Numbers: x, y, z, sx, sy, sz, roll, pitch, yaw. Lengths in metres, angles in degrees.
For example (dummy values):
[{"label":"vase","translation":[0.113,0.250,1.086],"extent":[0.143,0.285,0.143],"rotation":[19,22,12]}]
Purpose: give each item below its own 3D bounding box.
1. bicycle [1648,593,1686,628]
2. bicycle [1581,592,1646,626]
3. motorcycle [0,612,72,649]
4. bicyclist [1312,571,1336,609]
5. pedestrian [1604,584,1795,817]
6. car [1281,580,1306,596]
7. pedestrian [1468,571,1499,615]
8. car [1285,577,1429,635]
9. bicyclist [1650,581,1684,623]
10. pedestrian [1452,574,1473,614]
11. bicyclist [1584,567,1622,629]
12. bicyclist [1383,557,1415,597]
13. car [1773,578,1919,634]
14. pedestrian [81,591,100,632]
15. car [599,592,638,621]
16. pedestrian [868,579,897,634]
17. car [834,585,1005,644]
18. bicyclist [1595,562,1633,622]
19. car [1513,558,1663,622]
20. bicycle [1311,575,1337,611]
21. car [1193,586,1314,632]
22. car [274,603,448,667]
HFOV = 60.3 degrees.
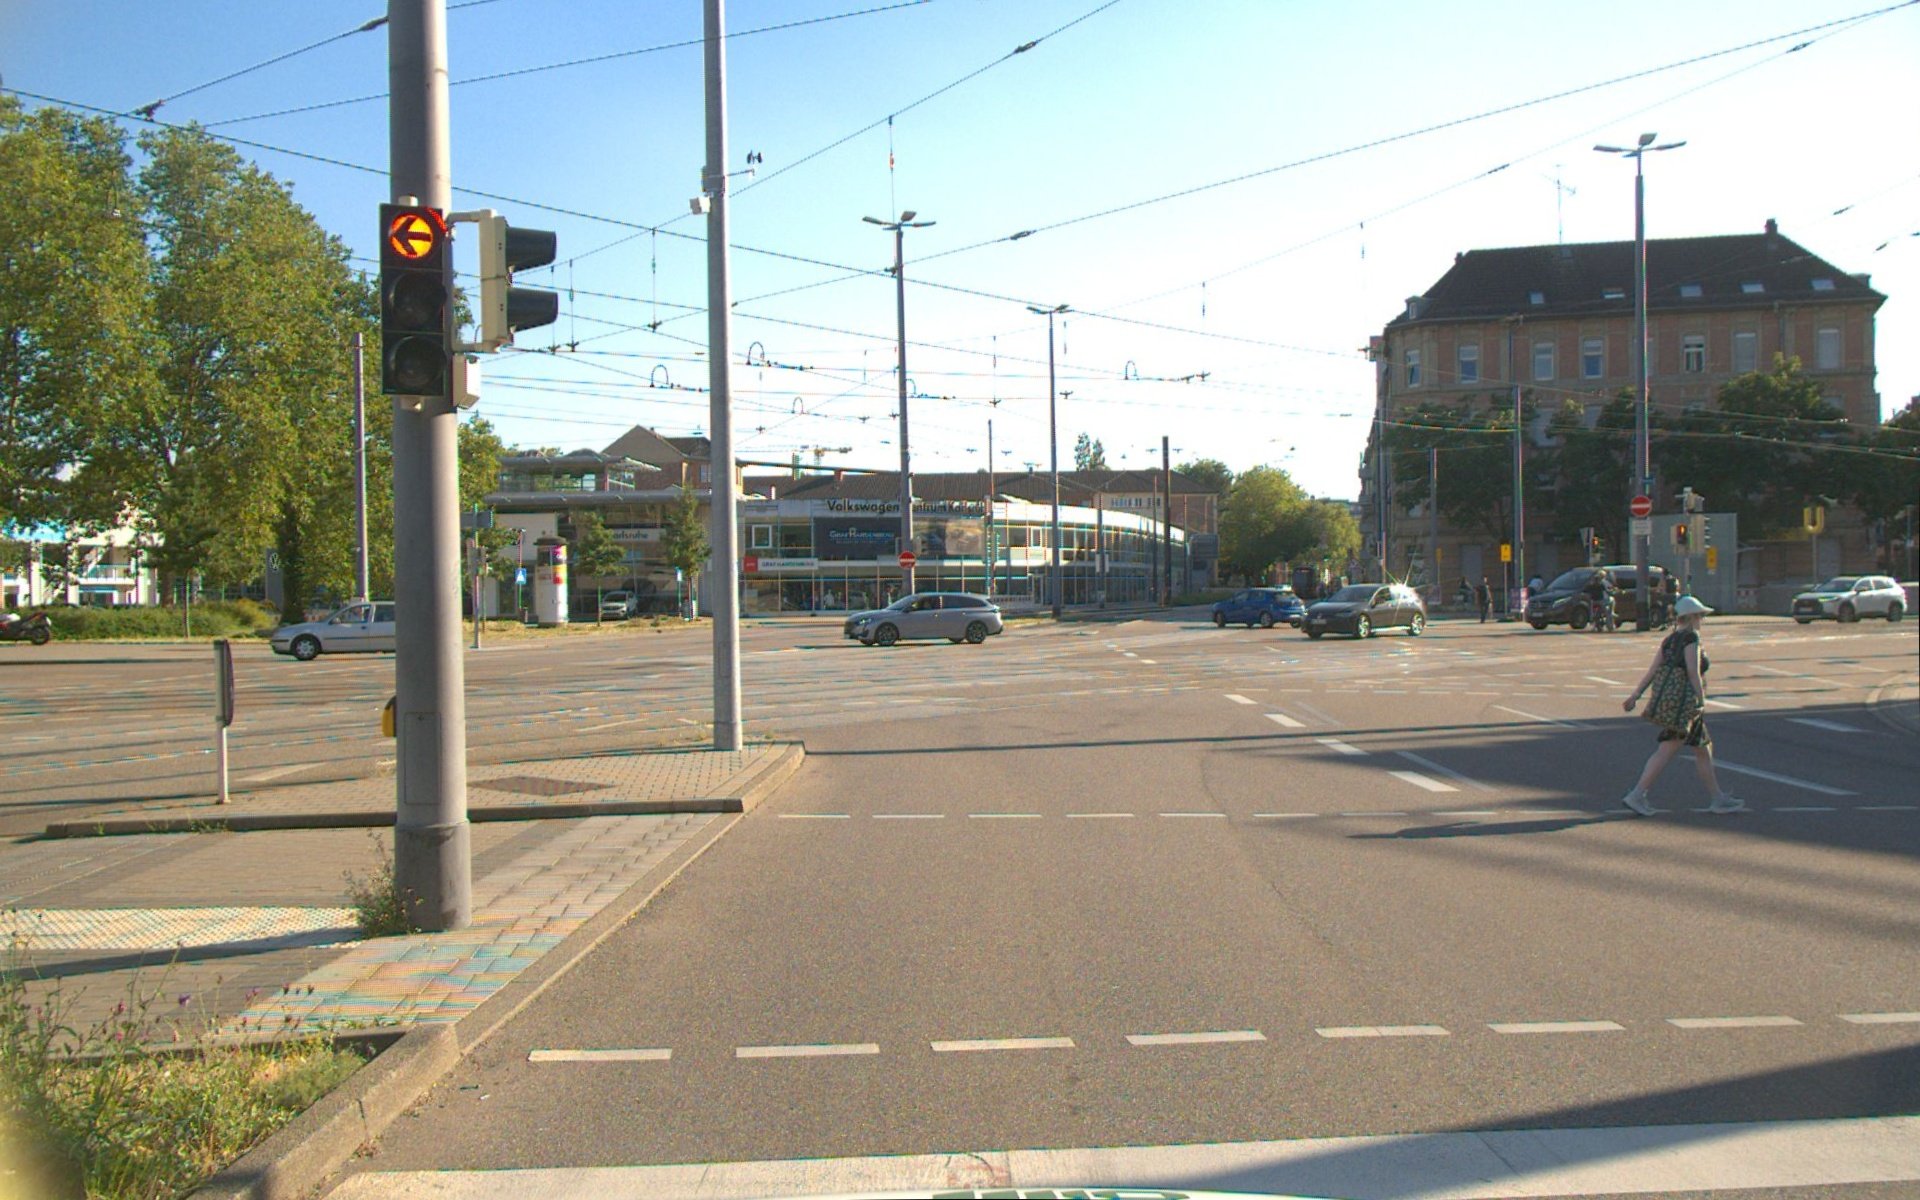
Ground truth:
[{"label":"bicycle","translation":[20.956,0.306,49.052],"extent":[0.839,0.921,2.305],"rotation":[1,2,19]},{"label":"bicycle","translation":[19.296,0.263,48.814],"extent":[2.283,0.921,0.847],"rotation":[-2,2,-41]},{"label":"motorcycle","translation":[-28.234,0.928,50.099],"extent":[2.246,1.072,0.685],"rotation":[0,2,-14]},{"label":"bicyclist","translation":[18.991,-0.507,86.306],"extent":[1.095,1.933,1.074],"rotation":[1,2,17]},{"label":"pedestrian","translation":[5.441,0.714,12.204],"extent":[1.073,1.634,0.697],"rotation":[0,2,-11]},{"label":"car","translation":[35.927,-1.319,178.228],"extent":[1.765,1.684,3.917],"rotation":[0,2,-2]},{"label":"pedestrian","translation":[20.221,-0.274,63.919],"extent":[0.905,1.705,0.782],"rotation":[-1,0,-1]},{"label":"car","translation":[11.066,0.136,45.983],"extent":[4.066,1.512,1.925],"rotation":[-1,0,-41]},{"label":"bicyclist","translation":[20.917,0.046,48.946],"extent":[0.839,1.197,0.715],"rotation":[1,2,18]},{"label":"pedestrian","translation":[20.994,-0.251,69.133],"extent":[0.635,1.682,0.549],"rotation":[-1,0,-38]},{"label":"bicyclist","translation":[18.816,-0.055,48.396],"extent":[0.579,1.809,0.854],"rotation":[-1,0,-40]},{"label":"bicyclist","translation":[17.710,-0.941,66.785],"extent":[0.911,1.586,0.854],"rotation":[-1,2,-23]},{"label":"car","translation":[30.621,0.197,57.142],"extent":[4.770,1.830,1.939],"rotation":[-1,0,-24]},{"label":"pedestrian","translation":[-44.184,0.590,84.022],"extent":[0.576,2.049,0.710],"rotation":[-1,0,-1]},{"label":"car","translation":[-20.731,0.377,100.507],"extent":[1.955,1.561,3.995],"rotation":[0,2,-6]},{"label":"pedestrian","translation":[-2.665,0.217,56.810],"extent":[0.969,1.847,0.920],"rotation":[0,2,-3]},{"label":"car","translation":[-1.146,0.394,47.039],"extent":[4.481,1.544,1.940],"rotation":[-1,0,-23]},{"label":"bicyclist","translation":[19.291,-0.240,48.793],"extent":[0.645,1.720,0.848],"rotation":[-1,2,-40]},{"label":"car","translation":[19.900,-0.322,52.319],"extent":[4.787,1.926,1.933],"rotation":[-1,0,-32]},{"label":"bicycle","translation":[19.003,-0.391,86.284],"extent":[1.111,1.719,4.004],"rotation":[1,2,16]},{"label":"car","translation":[10.955,0.333,62.005],"extent":[1.929,1.622,4.566],"rotation":[-1,0,-32]},{"label":"car","translation":[-15.071,0.850,41.743],"extent":[4.035,1.477,1.942],"rotation":[-1,0,-20]}]
